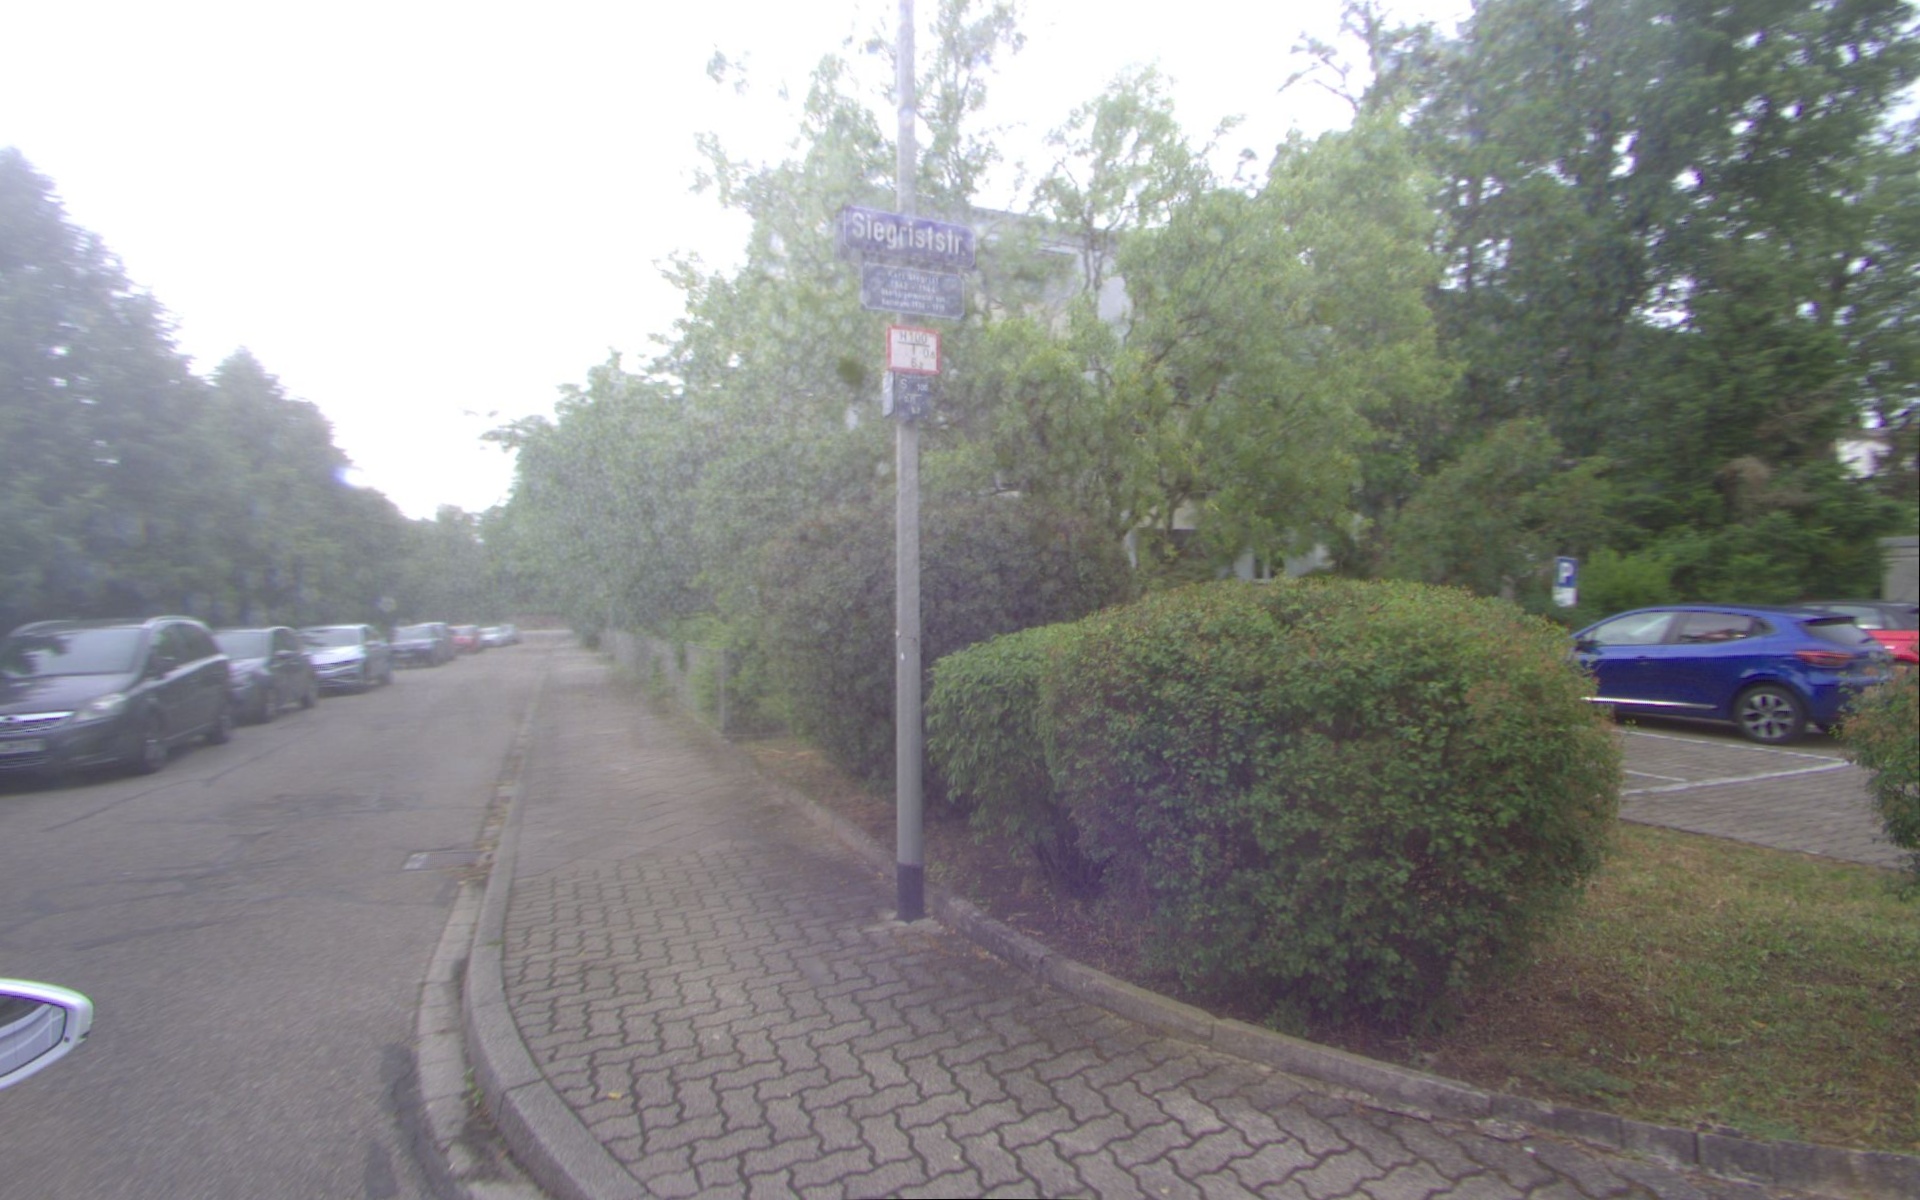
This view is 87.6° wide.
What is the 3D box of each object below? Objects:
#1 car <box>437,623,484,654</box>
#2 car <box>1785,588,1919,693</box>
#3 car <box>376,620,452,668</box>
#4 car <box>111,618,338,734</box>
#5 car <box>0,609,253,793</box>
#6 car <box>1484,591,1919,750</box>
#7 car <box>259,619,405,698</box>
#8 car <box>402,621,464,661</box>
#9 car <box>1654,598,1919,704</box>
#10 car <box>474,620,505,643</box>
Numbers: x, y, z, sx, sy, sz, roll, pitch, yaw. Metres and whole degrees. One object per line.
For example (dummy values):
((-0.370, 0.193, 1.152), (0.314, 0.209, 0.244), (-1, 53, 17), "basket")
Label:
((-25.583, 1.943, 51.381), (1.728, 1.444, 3.989), (-3, 0, -21), "car")
((15.353, 0.599, 15.179), (1.971, 1.572, 3.980), (0, -1, -29), "car")
((-18.591, 1.459, 34.251), (1.728, 1.444, 3.989), (-3, 0, -21), "car")
((-11.599, 1.091, 16.156), (1.733, 1.498, 4.295), (-3, 0, -20), "car")
((-9.513, 0.960, 11.063), (1.734, 1.614, 4.538), (-3, 0, -23), "car")
((8.614, 0.703, 11.851), (1.996, 1.530, 3.895), (0, 0, -25), "car")
((-13.597, 1.194, 21.968), (1.751, 1.447, 4.467), (-3, 0, -20), "car")
((-21.330, 1.632, 40.676), (1.728, 1.444, 3.989), (-3, 0, -21), "car")
((12.877, 0.686, 14.798), (1.941, 1.399, 3.895), (0, 0, -25), "car")
((-33.960, 2.240, 72.403), (1.728, 1.539, 3.989), (-1, -1, -21), "car")
